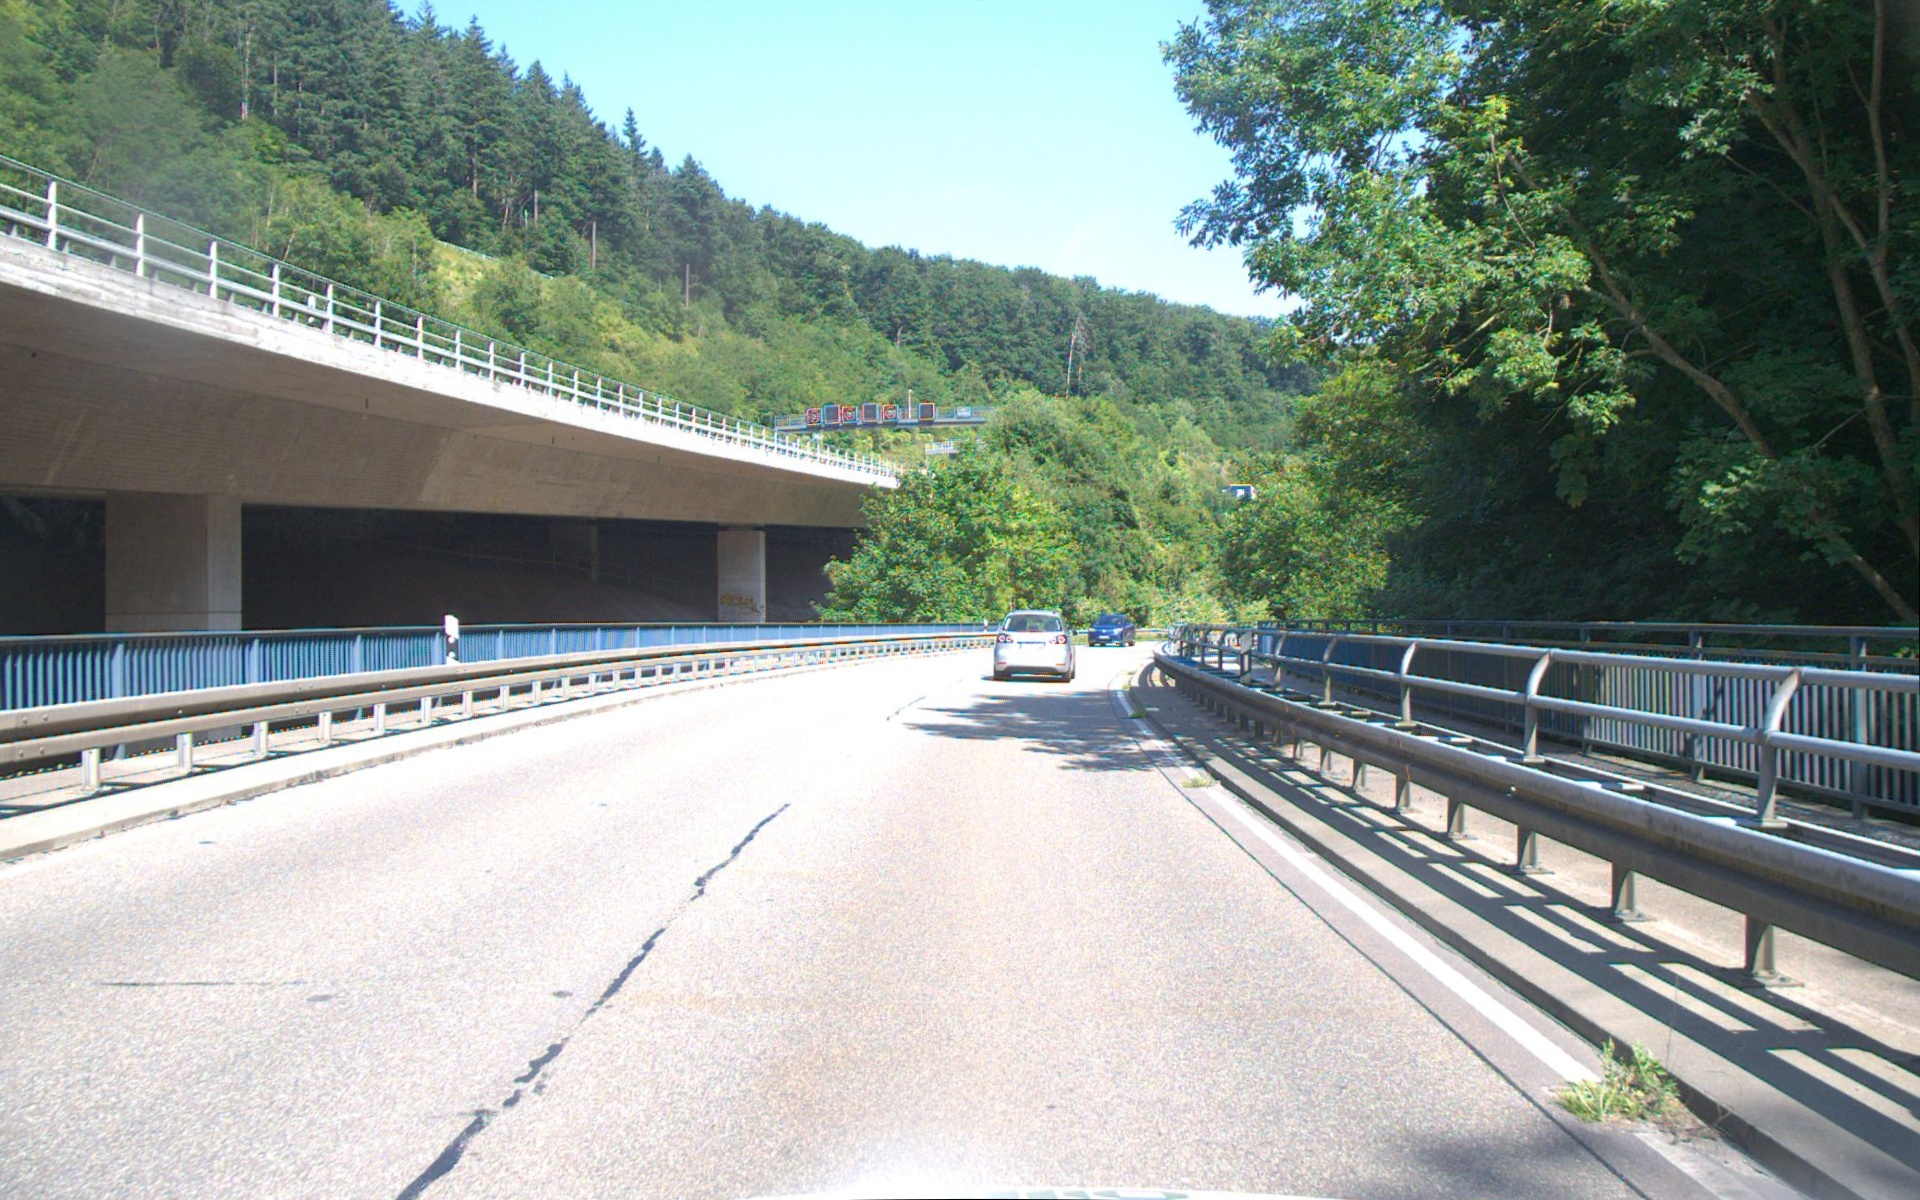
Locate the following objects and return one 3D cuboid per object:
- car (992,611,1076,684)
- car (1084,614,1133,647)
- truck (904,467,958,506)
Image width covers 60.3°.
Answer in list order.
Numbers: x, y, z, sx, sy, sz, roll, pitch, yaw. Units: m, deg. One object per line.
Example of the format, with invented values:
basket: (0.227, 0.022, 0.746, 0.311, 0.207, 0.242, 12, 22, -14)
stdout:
car: (1.737, 1.061, 37.649, 1.714, 1.546, 4.161, 1, -1, 5)
car: (7.680, 1.568, 85.066, 1.858, 1.608, 4.558, 1, -1, 13)
truck: (-2.903, -11.593, 169.563, 3.298, 3.413, 10.186, 2, 1, 11)
